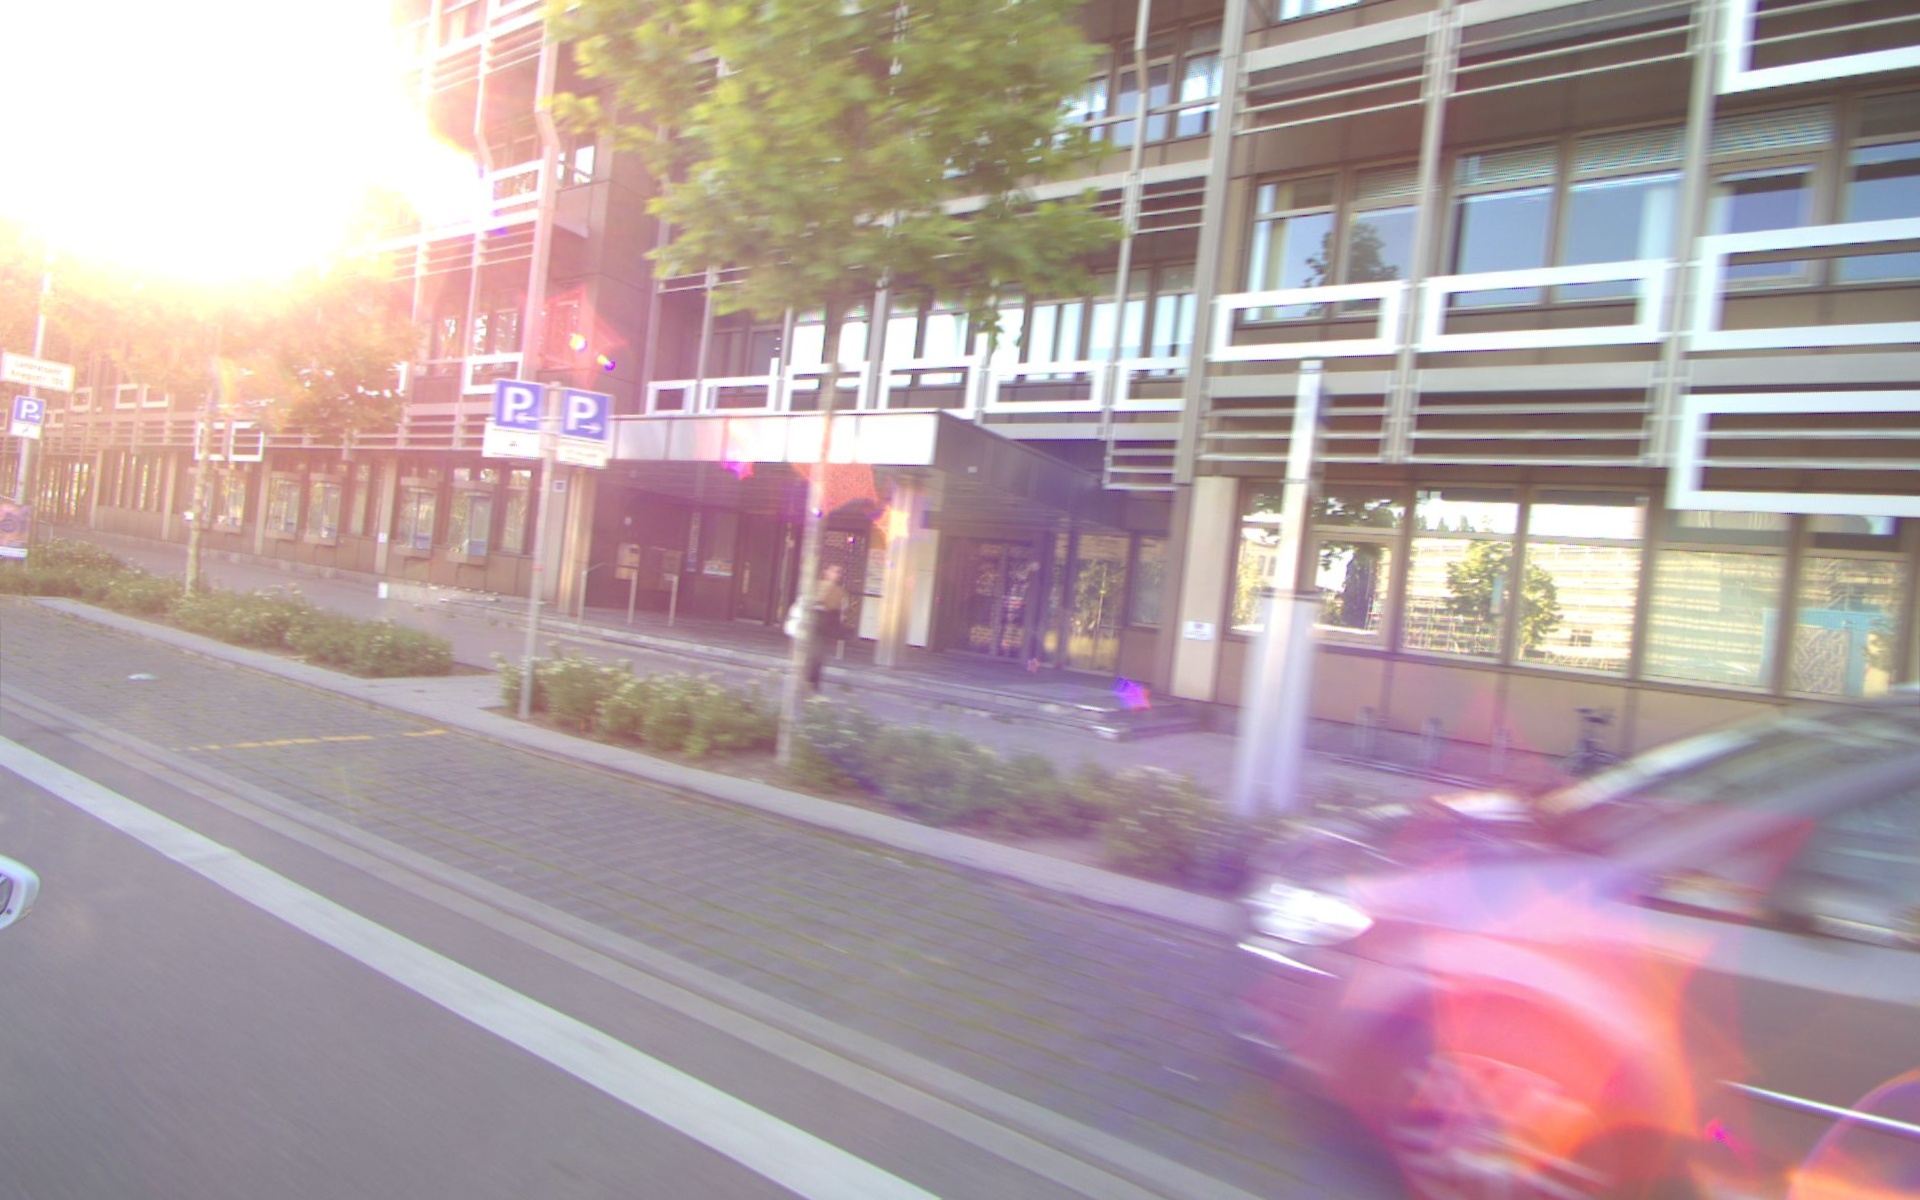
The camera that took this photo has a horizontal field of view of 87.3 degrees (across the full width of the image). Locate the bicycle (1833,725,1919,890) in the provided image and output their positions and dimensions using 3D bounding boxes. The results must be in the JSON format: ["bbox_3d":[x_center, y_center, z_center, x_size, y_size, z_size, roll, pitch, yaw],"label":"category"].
[{"bbox_3d":[7.807,1.673,8.270,0.385,1.107,1.903,7,1,26],"label":"bicycle"}]

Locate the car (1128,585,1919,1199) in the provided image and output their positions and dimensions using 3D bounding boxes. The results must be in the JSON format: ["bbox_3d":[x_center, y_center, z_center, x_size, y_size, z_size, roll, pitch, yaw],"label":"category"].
[{"bbox_3d":[2.936,1.060,2.736,4.439,1.710,1.729,7,2,31],"label":"car"}]

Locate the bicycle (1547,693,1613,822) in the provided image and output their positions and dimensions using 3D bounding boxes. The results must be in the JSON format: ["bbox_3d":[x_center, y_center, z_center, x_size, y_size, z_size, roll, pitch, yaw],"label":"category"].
[{"bbox_3d":[6.083,1.494,9.848,0.386,1.096,1.627,7,1,34],"label":"bicycle"}]

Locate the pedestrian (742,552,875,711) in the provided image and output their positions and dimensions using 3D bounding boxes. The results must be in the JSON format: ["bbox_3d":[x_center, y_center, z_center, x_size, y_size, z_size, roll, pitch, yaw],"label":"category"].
[{"bbox_3d":[-1.741,0.355,11.571,1.118,1.669,0.789,7,1,33],"label":"pedestrian"}]
